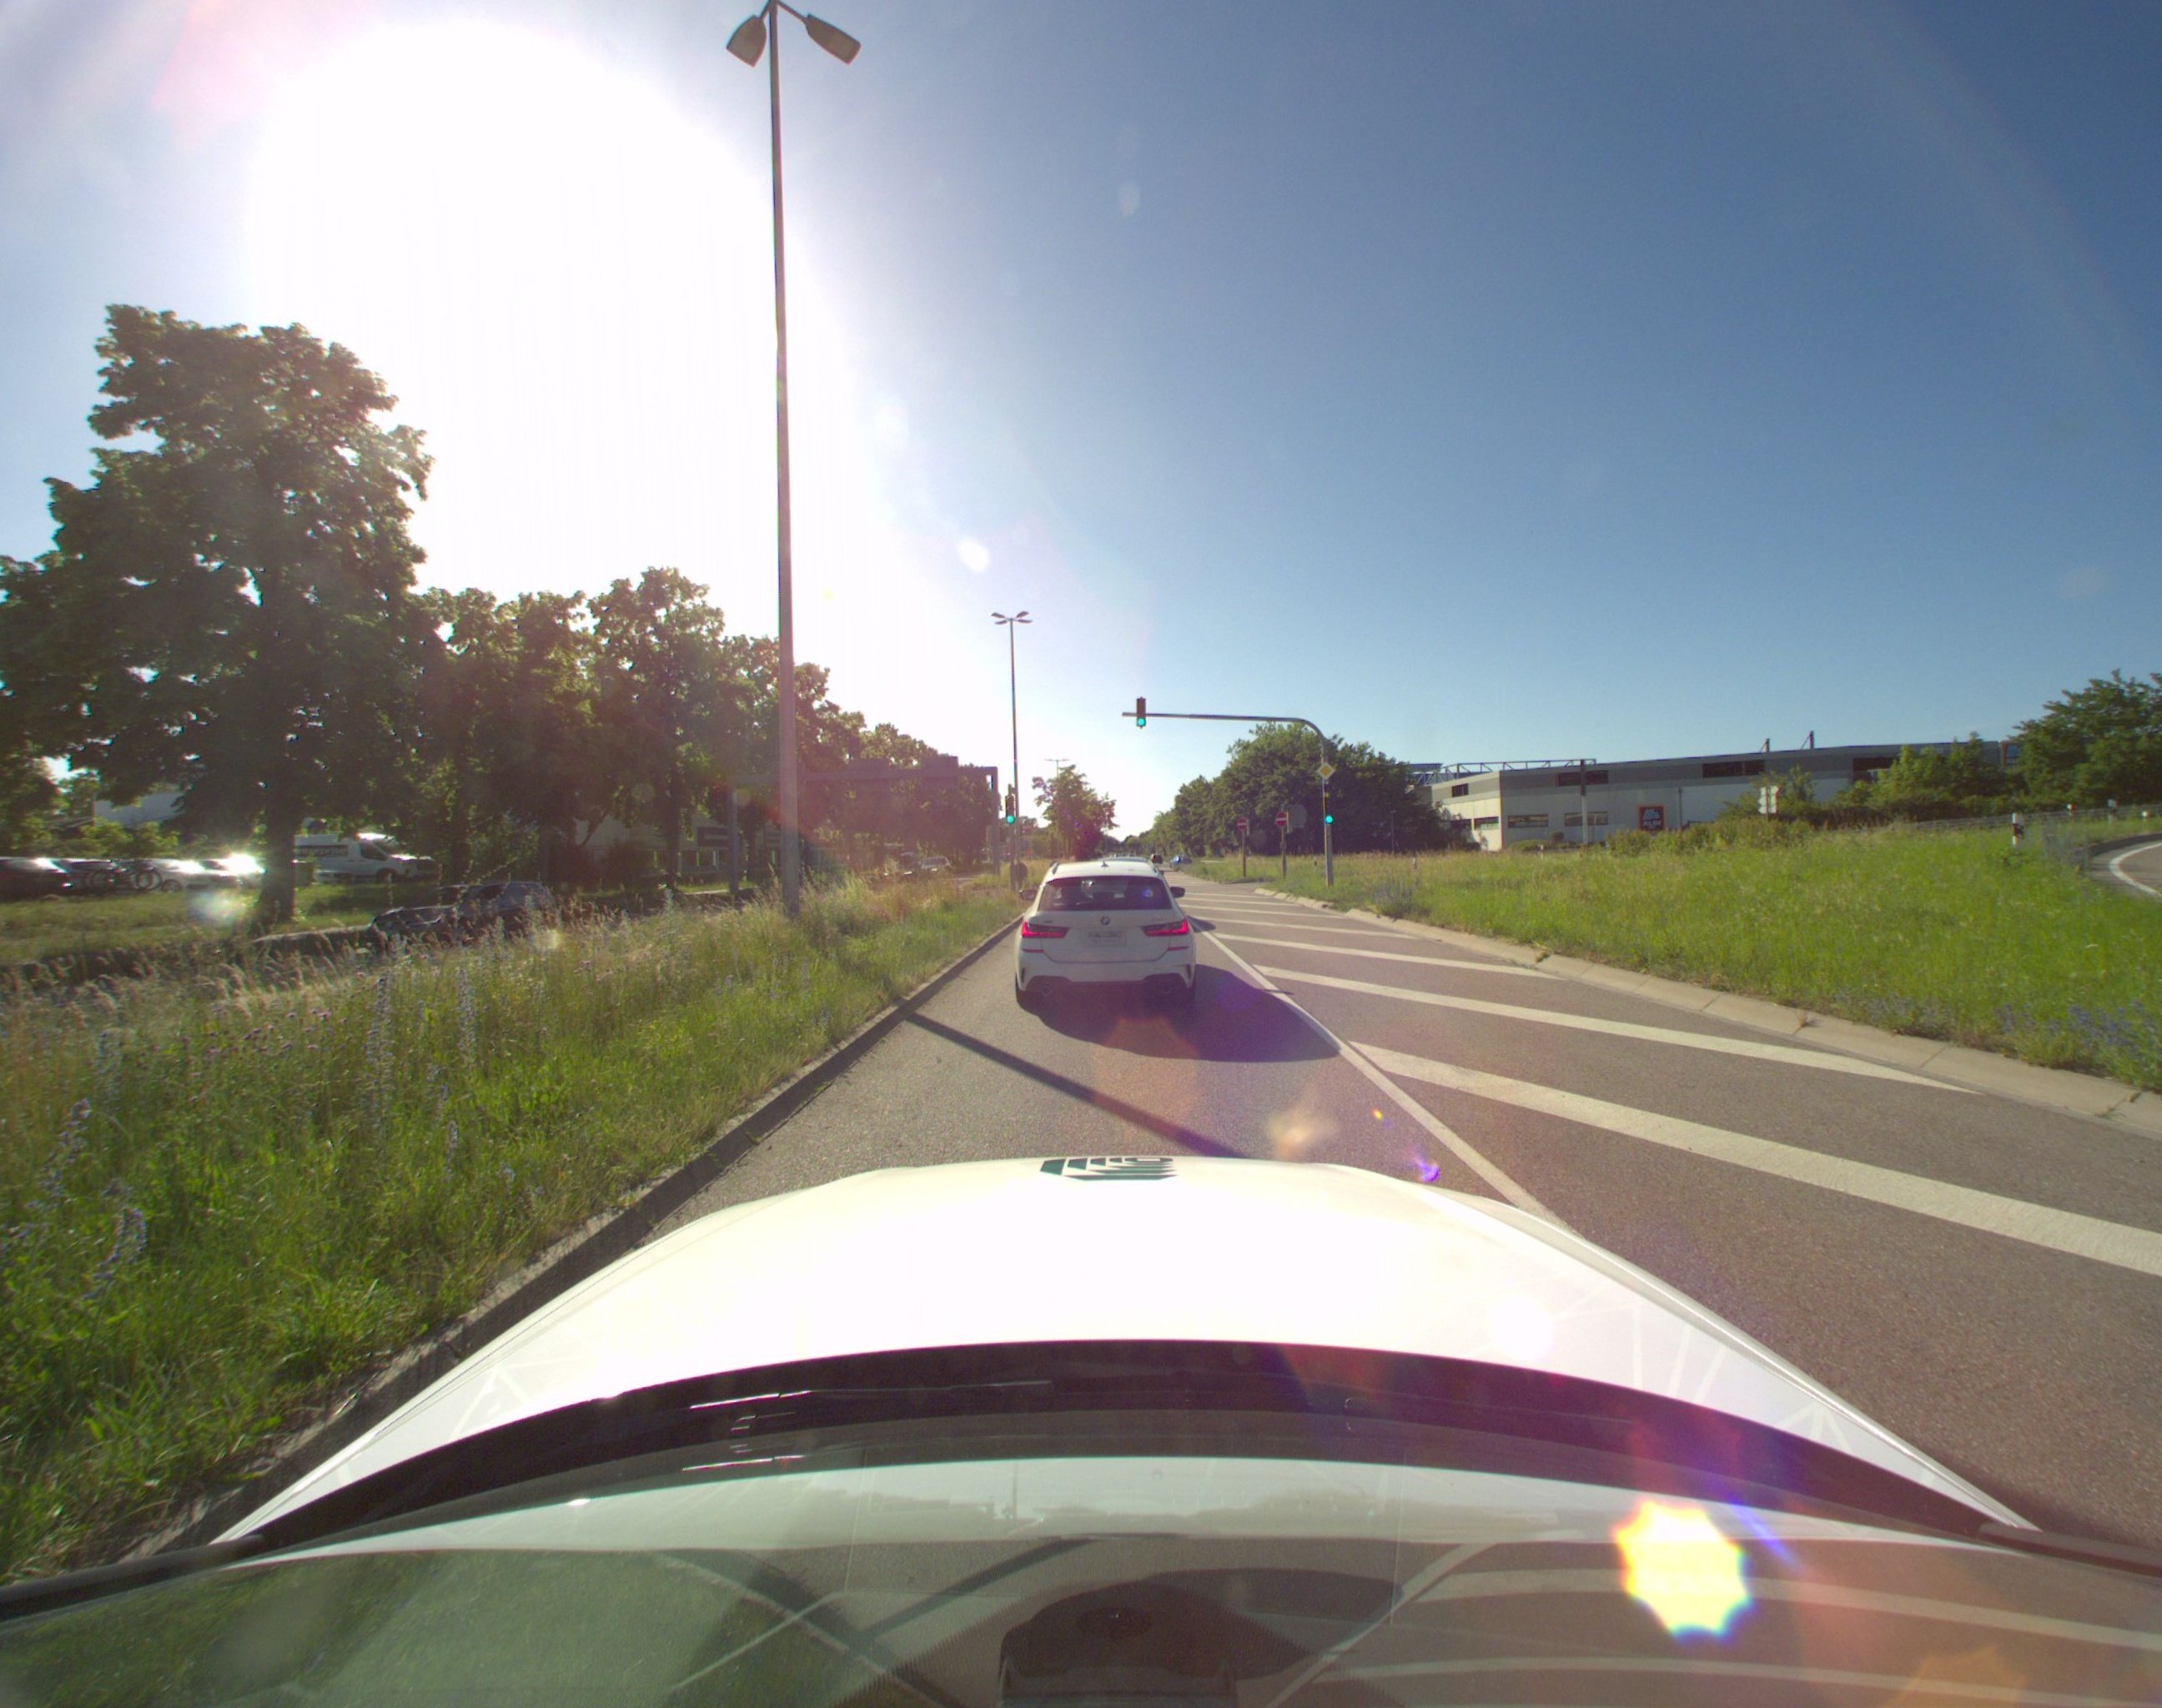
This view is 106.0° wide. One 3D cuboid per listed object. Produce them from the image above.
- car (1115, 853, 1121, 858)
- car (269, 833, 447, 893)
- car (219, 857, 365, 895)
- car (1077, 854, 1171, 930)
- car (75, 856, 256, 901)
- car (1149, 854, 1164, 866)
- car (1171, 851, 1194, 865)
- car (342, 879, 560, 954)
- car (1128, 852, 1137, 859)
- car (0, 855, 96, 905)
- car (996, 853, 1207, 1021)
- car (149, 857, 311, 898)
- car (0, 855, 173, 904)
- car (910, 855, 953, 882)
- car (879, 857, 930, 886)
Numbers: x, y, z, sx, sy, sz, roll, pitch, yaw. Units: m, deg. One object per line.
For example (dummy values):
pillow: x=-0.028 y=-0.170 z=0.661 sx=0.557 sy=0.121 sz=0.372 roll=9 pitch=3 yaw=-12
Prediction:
car: x=10.664 y=0.417 z=234.525 sx=1.854 sy=1.565 sz=4.549 roll=-2 pitch=0 yaw=2
car: x=-32.518 y=0.387 z=36.790 sx=5.861 sy=2.433 sz=2.205 roll=-2 pitch=0 yaw=-2
car: x=-33.035 y=0.907 z=34.202 sx=4.107 sy=1.388 sz=1.945 roll=-2 pitch=0 yaw=-2
car: x=0.955 y=0.770 z=18.748 sx=1.854 sy=1.455 sz=4.549 roll=-2 pitch=0 yaw=2
car: x=-32.501 y=0.851 z=29.020 sx=4.107 sy=1.388 sz=1.945 roll=-2 pitch=0 yaw=-2
car: x=11.085 y=0.877 z=119.549 sx=1.765 sy=1.555 sz=3.833 roll=-2 pitch=0 yaw=1
car: x=10.973 y=0.423 z=88.141 sx=1.856 sy=1.499 sz=4.334 roll=-1 pitch=0 yaw=-1
car: x=-15.199 y=1.446 z=20.026 sx=1.773 sy=1.425 sz=4.384 roll=-3 pitch=0 yaw=2
car: x=11.905 y=0.365 z=189.596 sx=1.854 sy=1.565 sz=4.549 roll=-2 pitch=0 yaw=2
car: x=-32.272 y=0.792 z=23.936 sx=4.107 sy=1.388 sz=1.945 roll=-2 pitch=0 yaw=-2
car: x=0.286 y=0.746 z=9.630 sx=1.854 sy=1.455 sz=4.550 roll=-2 pitch=0 yaw=3
car: x=-32.903 y=0.880 z=31.585 sx=4.107 sy=1.388 sz=1.945 roll=-2 pitch=0 yaw=-2
car: x=-32.625 y=0.812 z=26.236 sx=4.601 sy=1.388 sz=1.948 roll=-2 pitch=0 yaw=2
car: x=-10.527 y=0.962 z=57.574 sx=1.935 sy=1.697 sz=4.632 roll=-3 pitch=0 yaw=2
car: x=-10.555 y=1.015 z=49.029 sx=1.869 sy=1.542 sz=4.575 roll=-3 pitch=0 yaw=2
